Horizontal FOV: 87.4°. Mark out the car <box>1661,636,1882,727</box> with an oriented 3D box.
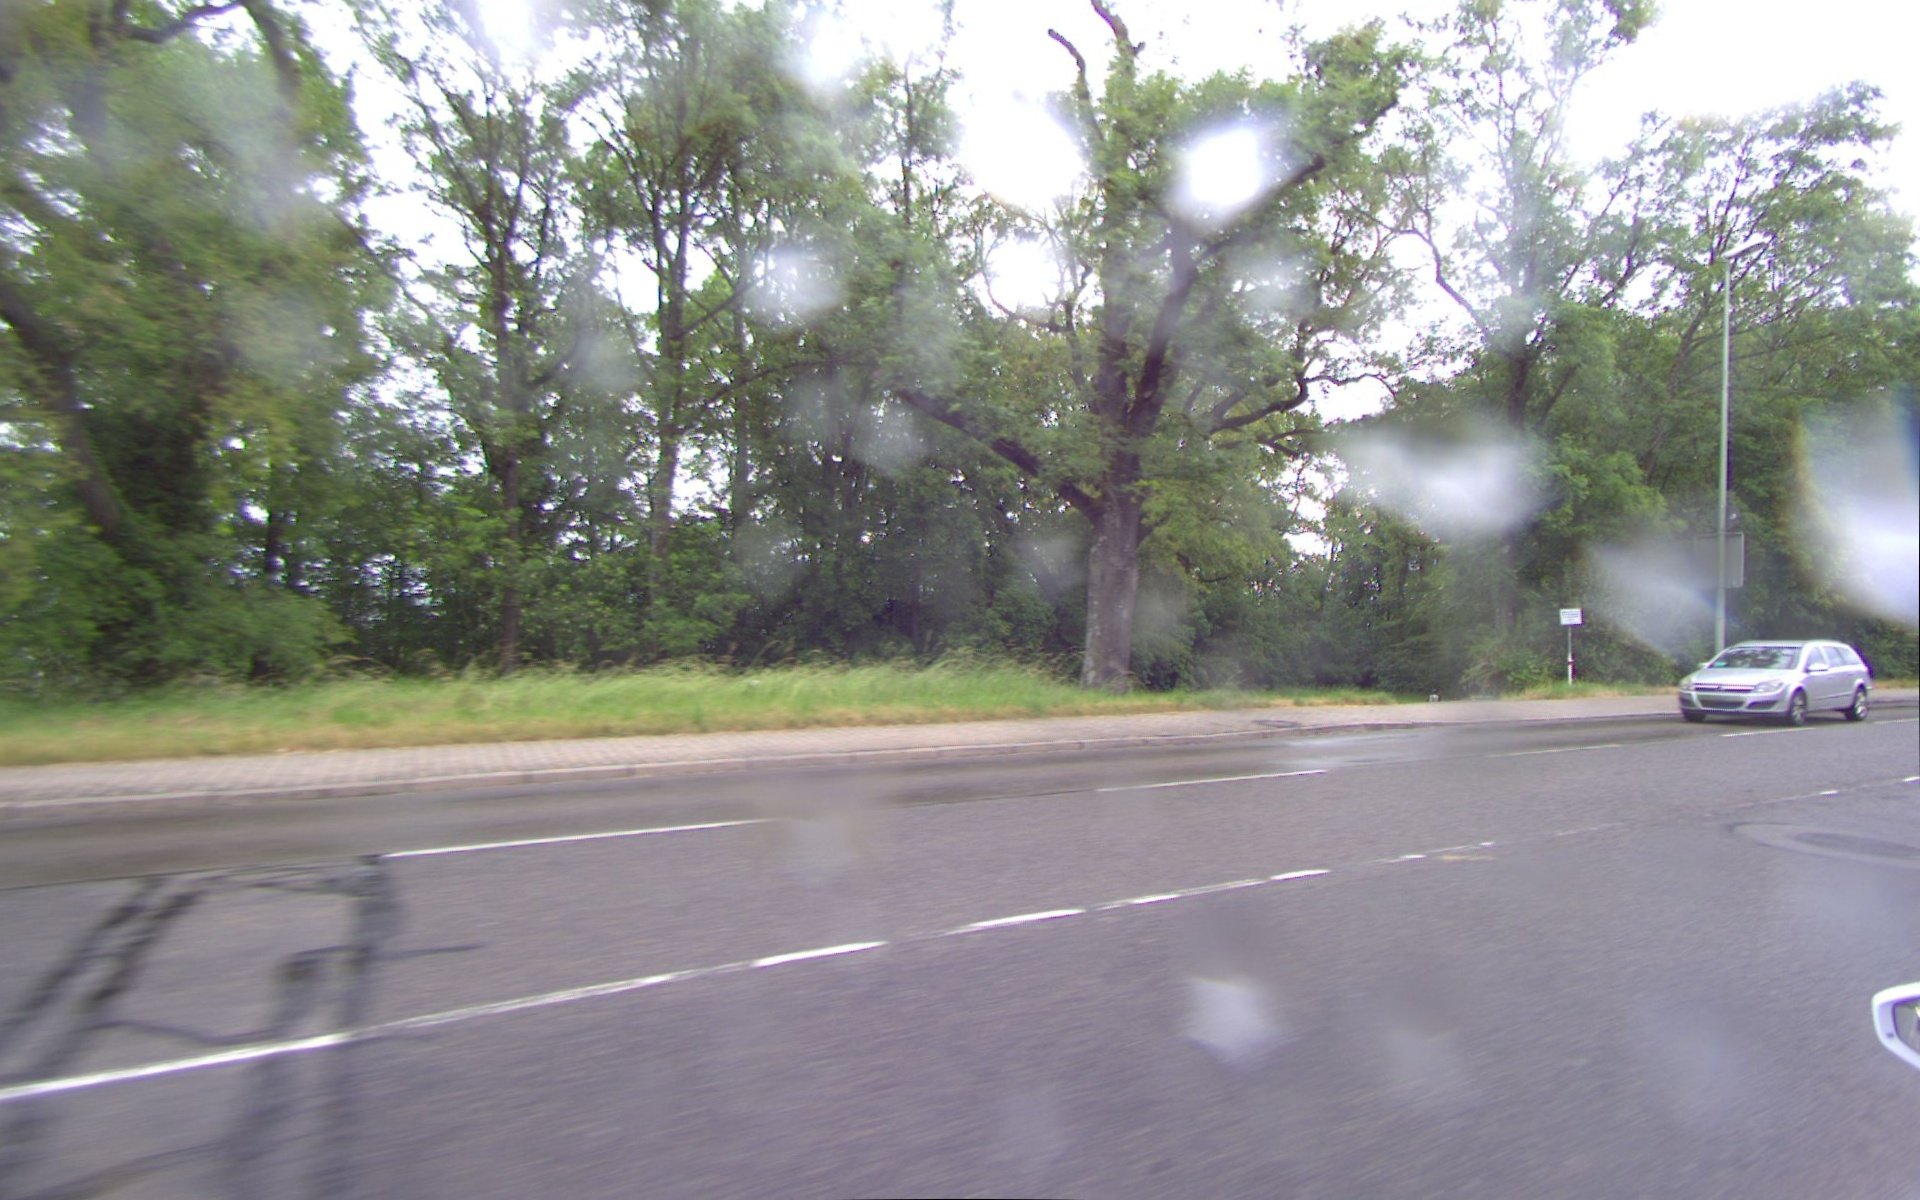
[{"bbox_3d":[15.005,1.446,18.529,4.399,1.502,1.682,2,-4,-30],"label":"car"}]
